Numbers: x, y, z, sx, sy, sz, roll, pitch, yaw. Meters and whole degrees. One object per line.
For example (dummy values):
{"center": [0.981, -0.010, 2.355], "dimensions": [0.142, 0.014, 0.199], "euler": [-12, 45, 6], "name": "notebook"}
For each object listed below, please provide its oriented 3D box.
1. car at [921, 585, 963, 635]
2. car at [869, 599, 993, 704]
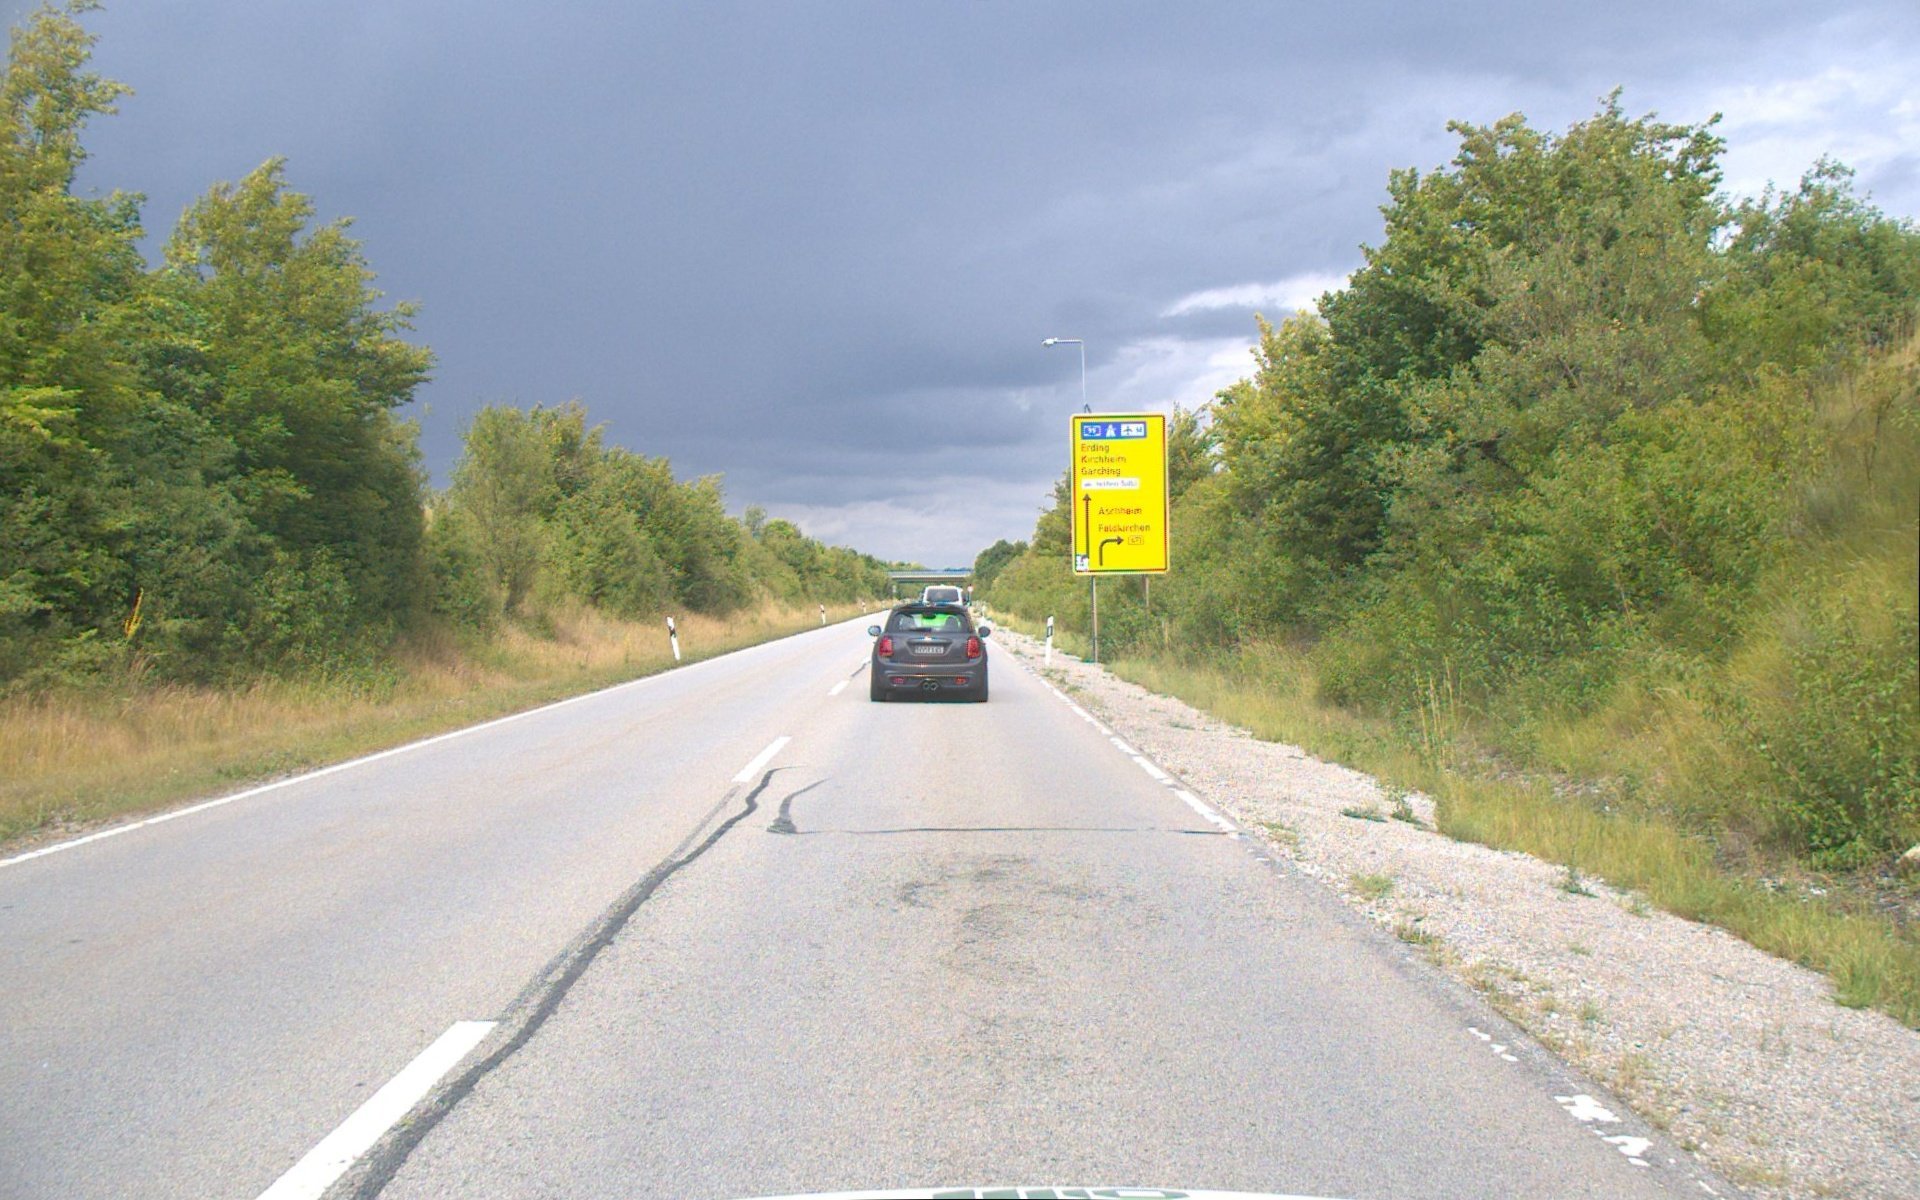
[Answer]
{"center": [-0.802, 0.431, 72.440], "dimensions": [1.782, 2.090, 3.999], "euler": [1, 0, -1], "name": "car"}
{"center": [-0.448, 0.734, 25.285], "dimensions": [1.721, 1.452, 3.999], "euler": [1, 0, -1], "name": "car"}
